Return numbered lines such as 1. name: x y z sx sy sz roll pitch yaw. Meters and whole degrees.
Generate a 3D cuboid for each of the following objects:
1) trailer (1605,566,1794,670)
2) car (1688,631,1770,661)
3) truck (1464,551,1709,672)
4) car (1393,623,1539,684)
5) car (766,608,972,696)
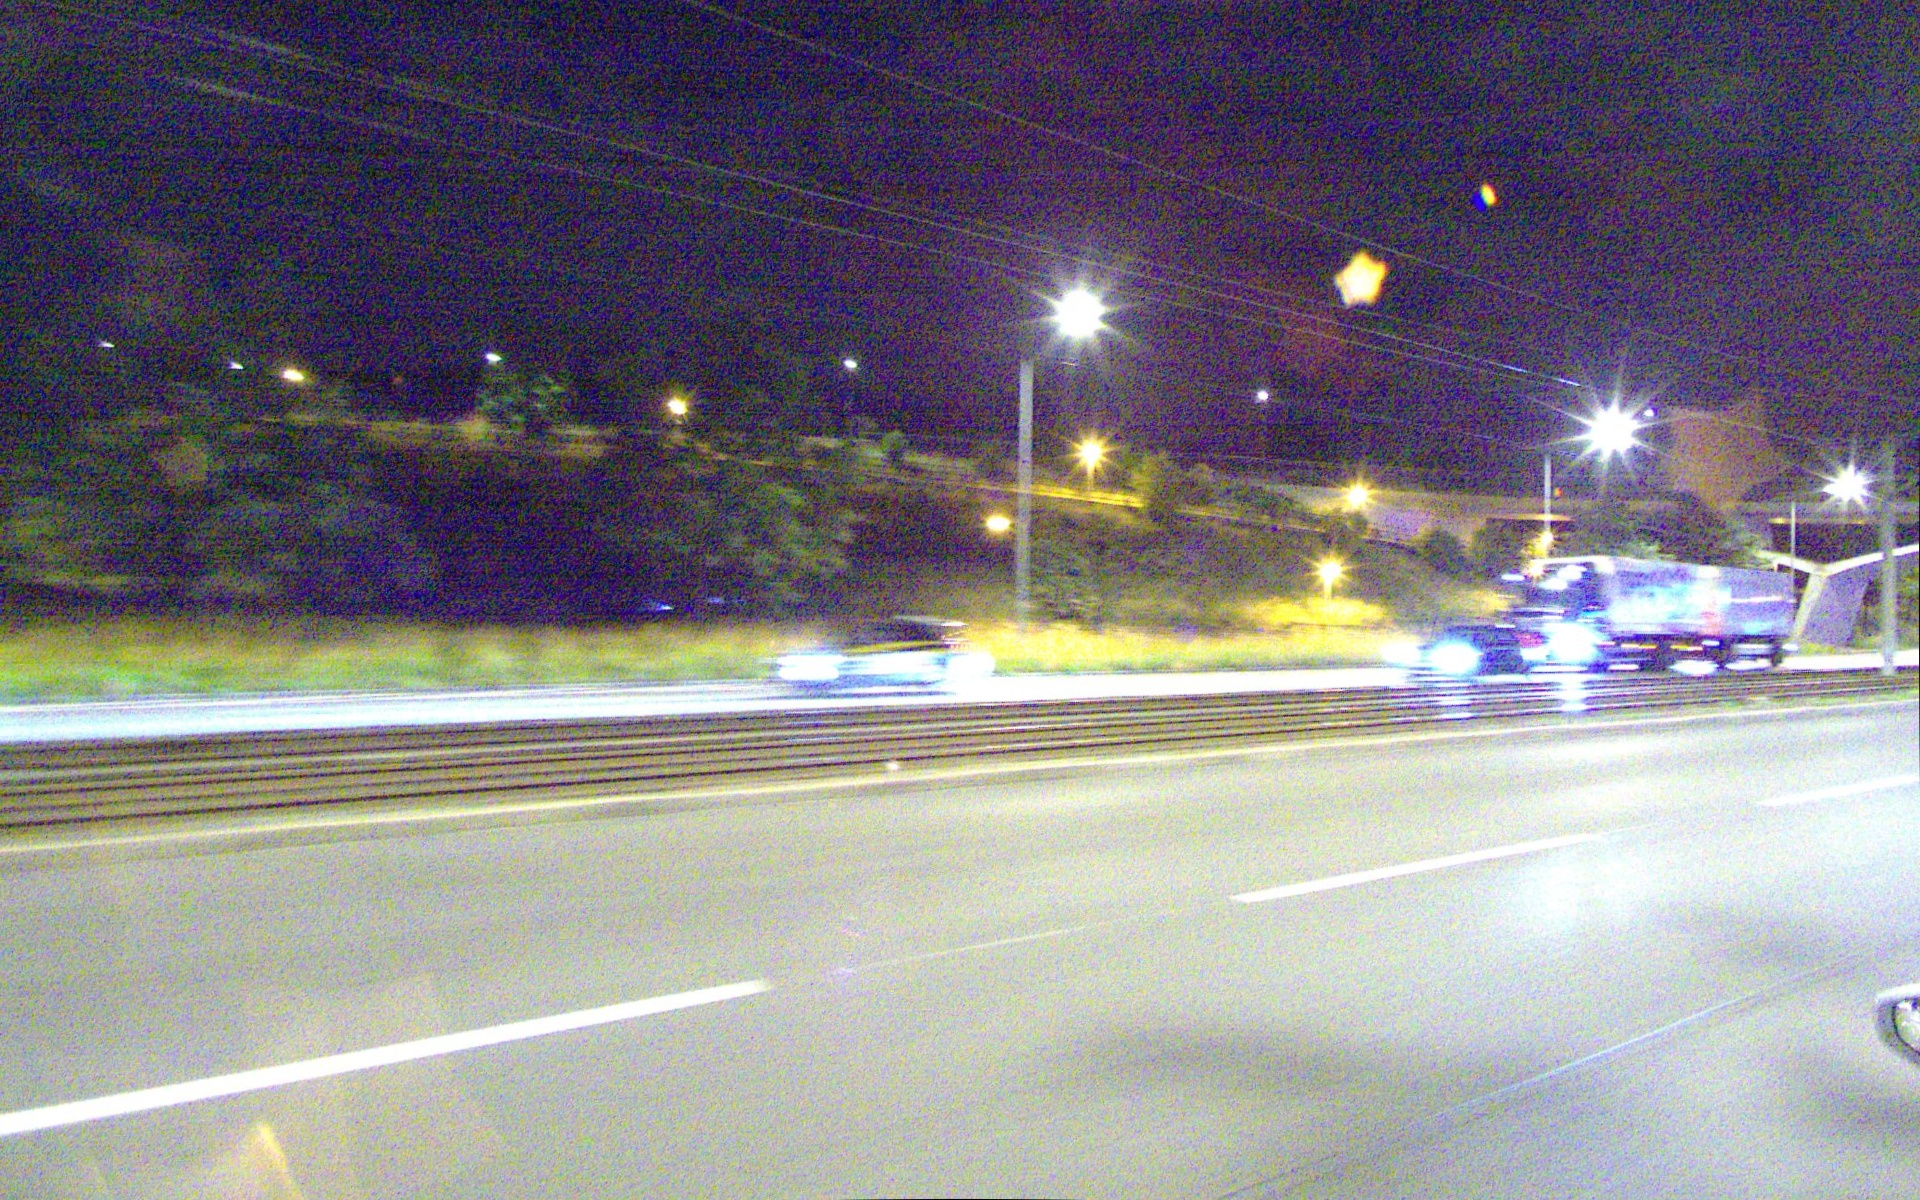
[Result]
1. trailer: 31.473 0.792 42.663 8.303 4.043 3.675 2 0 -32
2. car: 39.319 2.336 51.344 4.157 1.500 1.976 1 -3 -32
3. truck: 23.554 0.513 37.534 10.308 4.007 3.660 2 0 -33
4. car: 13.877 1.439 27.494 4.042 1.519 1.793 2 -1 -34
5. car: -1.884 1.069 21.042 3.915 1.647 1.717 2 0 -30
